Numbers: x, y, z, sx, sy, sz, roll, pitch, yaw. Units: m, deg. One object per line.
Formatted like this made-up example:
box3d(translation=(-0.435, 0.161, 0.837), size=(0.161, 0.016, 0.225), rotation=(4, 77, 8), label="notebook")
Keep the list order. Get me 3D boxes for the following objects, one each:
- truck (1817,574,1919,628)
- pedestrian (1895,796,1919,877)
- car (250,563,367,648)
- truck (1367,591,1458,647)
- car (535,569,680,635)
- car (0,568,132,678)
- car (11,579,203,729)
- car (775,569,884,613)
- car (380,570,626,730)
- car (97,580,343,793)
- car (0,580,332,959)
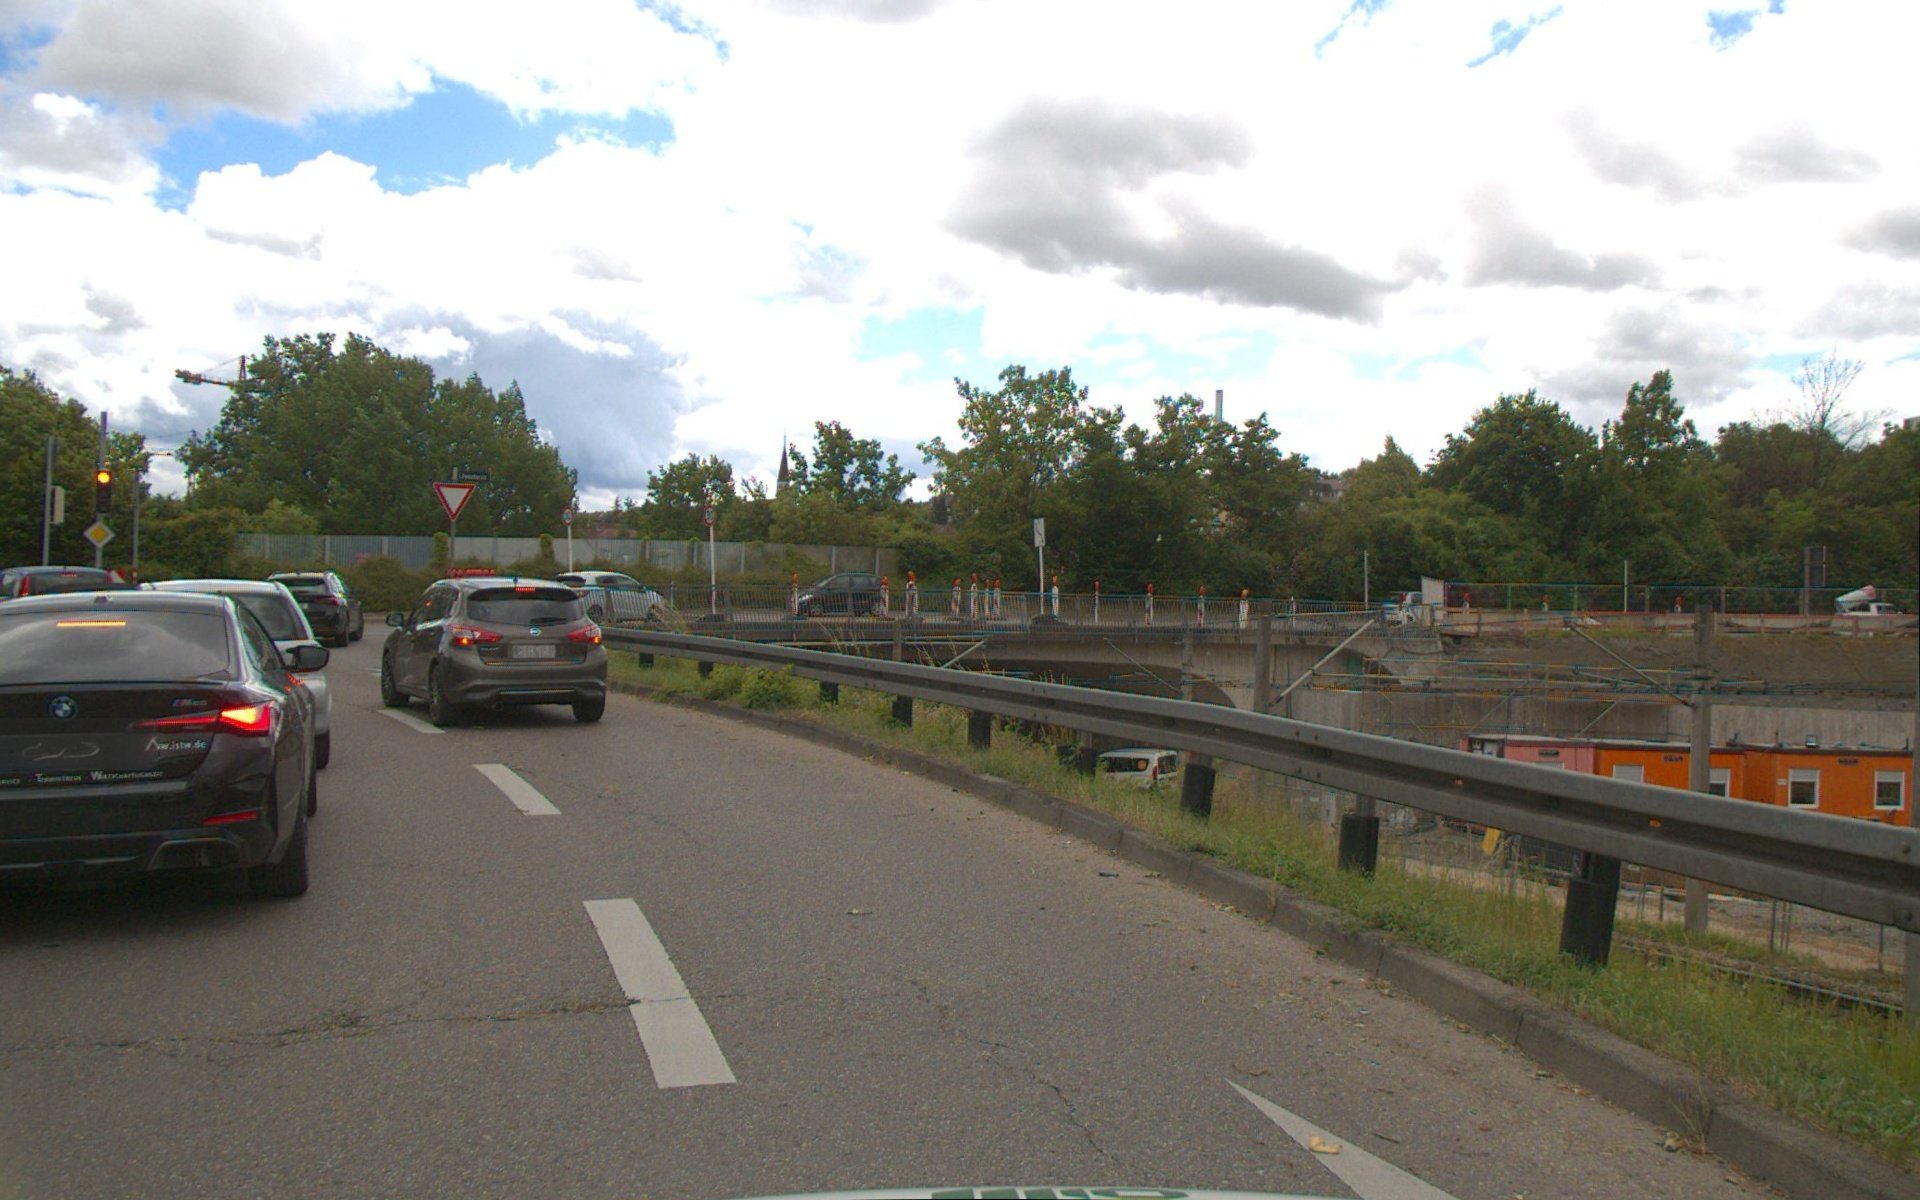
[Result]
box3d(translation=(39.443, 0.060, 71.262), size=(3.907, 2.048, 1.999), rotation=(4, -1, -2), label="truck")
box3d(translation=(25.513, 6.304, 43.971), size=(0.787, 2.049, 0.701), rotation=(5, -2, -15), label="pedestrian")
box3d(translation=(-13.076, 0.088, 33.365), size=(1.790, 1.579, 3.772), rotation=(1, 0, -16), label="car")
box3d(translation=(18.558, 0.794, 67.847), size=(3.176, 2.048, 1.726), rotation=(4, -1, -26), label="truck")
box3d(translation=(-9.725, 0.076, 45.892), size=(1.679, 1.704, 3.993), rotation=(1, -1, 29), label="car")
box3d(translation=(-13.818, 0.290, 24.924), size=(1.536, 1.533, 3.326), rotation=(0, 1, -43), label="car")
box3d(translation=(-9.791, 0.518, 18.847), size=(1.549, 1.391, 4.038), rotation=(-2, 3, -33), label="car")
box3d(translation=(-4.872, -0.304, 61.709), size=(3.732, 1.579, 1.628), rotation=(0, -2, -28), label="car")
box3d(translation=(-5.215, 0.472, 18.536), size=(1.778, 1.579, 3.961), rotation=(0, 1, -29), label="car")
box3d(translation=(-6.378, 0.604, 14.058), size=(1.650, 1.495, 3.595), rotation=(-2, 2, -28), label="car")
box3d(translation=(-4.488, 0.658, 9.085), size=(1.845, 1.502, 4.935), rotation=(-1, 1, -20), label="car")
